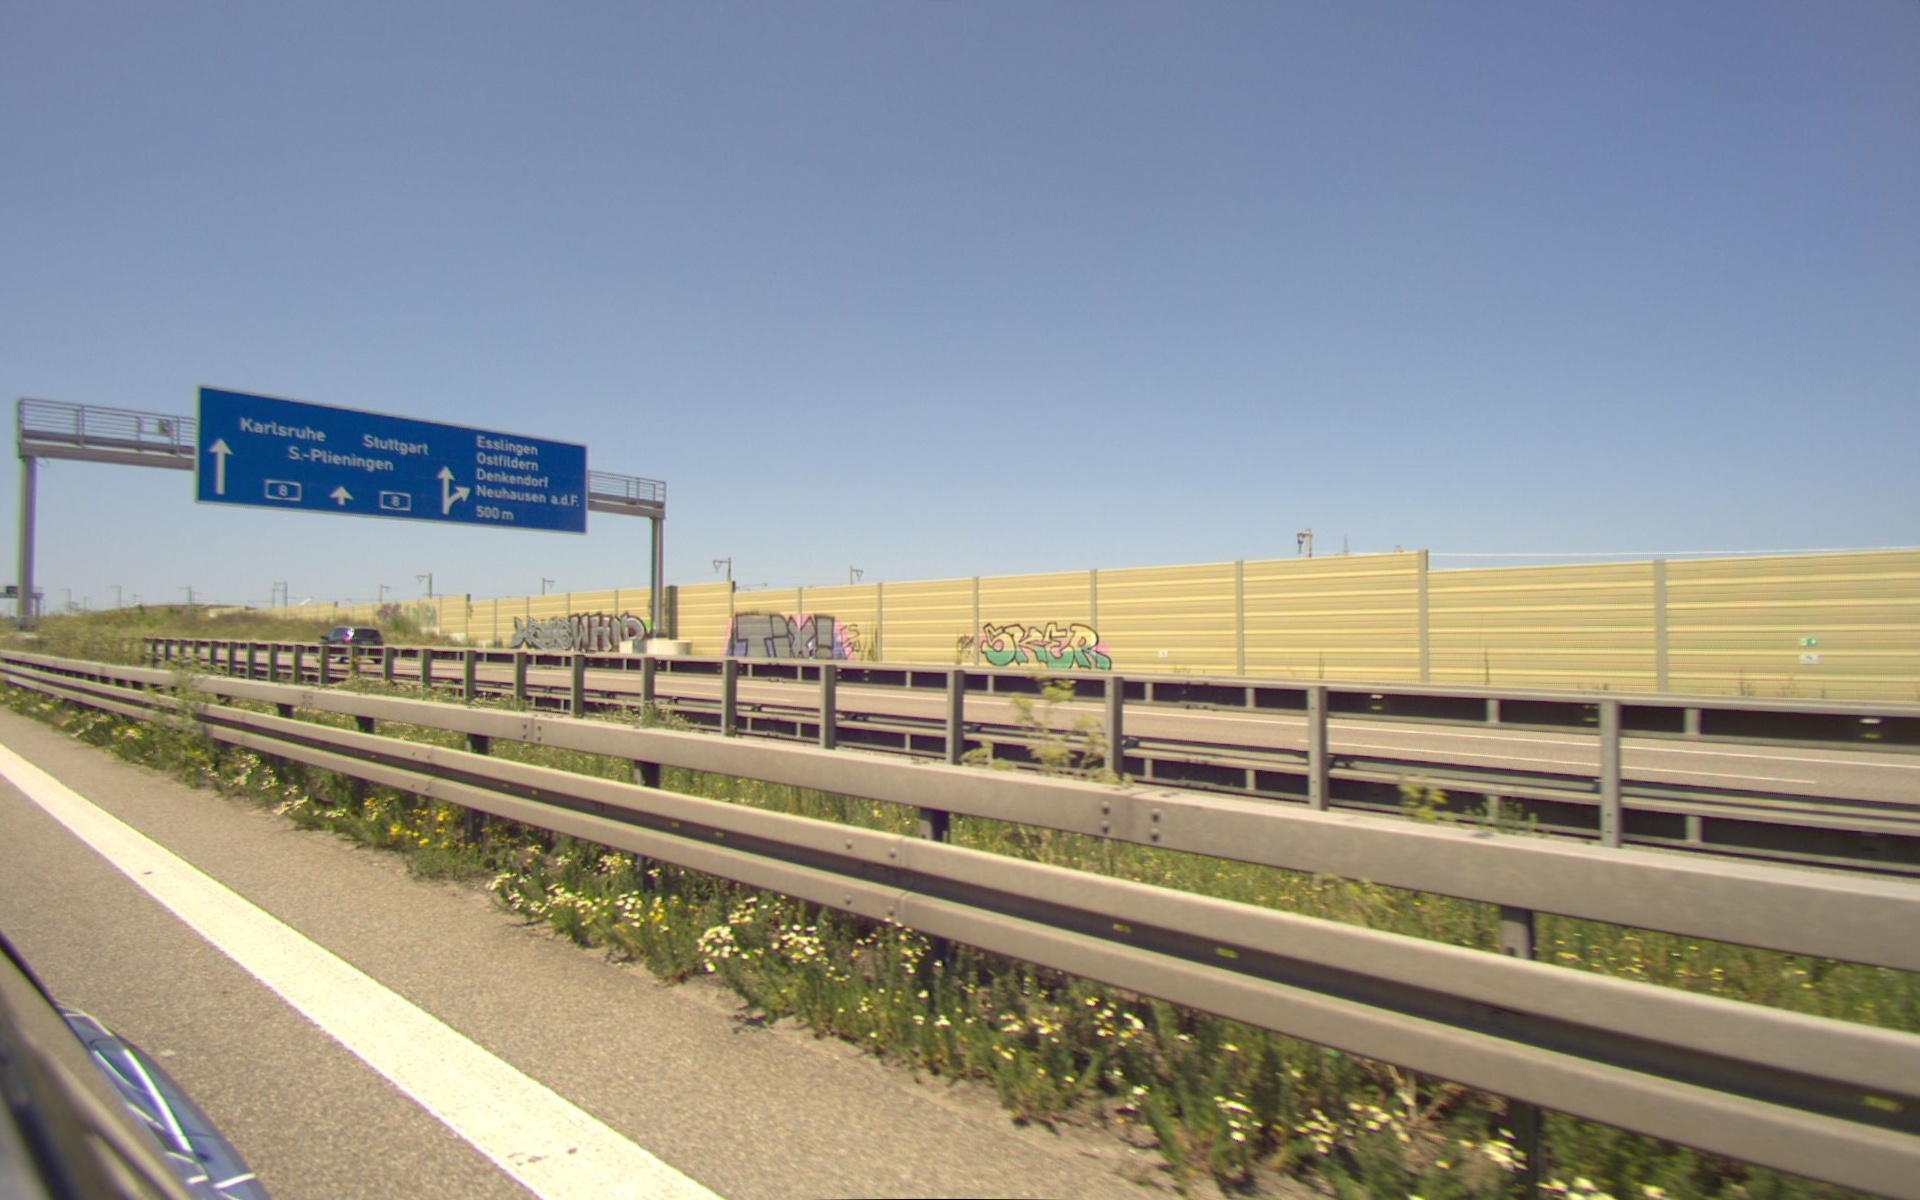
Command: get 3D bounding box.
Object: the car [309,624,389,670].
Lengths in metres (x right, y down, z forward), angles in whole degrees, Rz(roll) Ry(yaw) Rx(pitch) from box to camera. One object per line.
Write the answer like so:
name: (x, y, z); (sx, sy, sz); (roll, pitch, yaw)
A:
car: (-28.052, 2.141, 46.447); (3.998, 2.029, 1.973); (-2, -3, 41)
